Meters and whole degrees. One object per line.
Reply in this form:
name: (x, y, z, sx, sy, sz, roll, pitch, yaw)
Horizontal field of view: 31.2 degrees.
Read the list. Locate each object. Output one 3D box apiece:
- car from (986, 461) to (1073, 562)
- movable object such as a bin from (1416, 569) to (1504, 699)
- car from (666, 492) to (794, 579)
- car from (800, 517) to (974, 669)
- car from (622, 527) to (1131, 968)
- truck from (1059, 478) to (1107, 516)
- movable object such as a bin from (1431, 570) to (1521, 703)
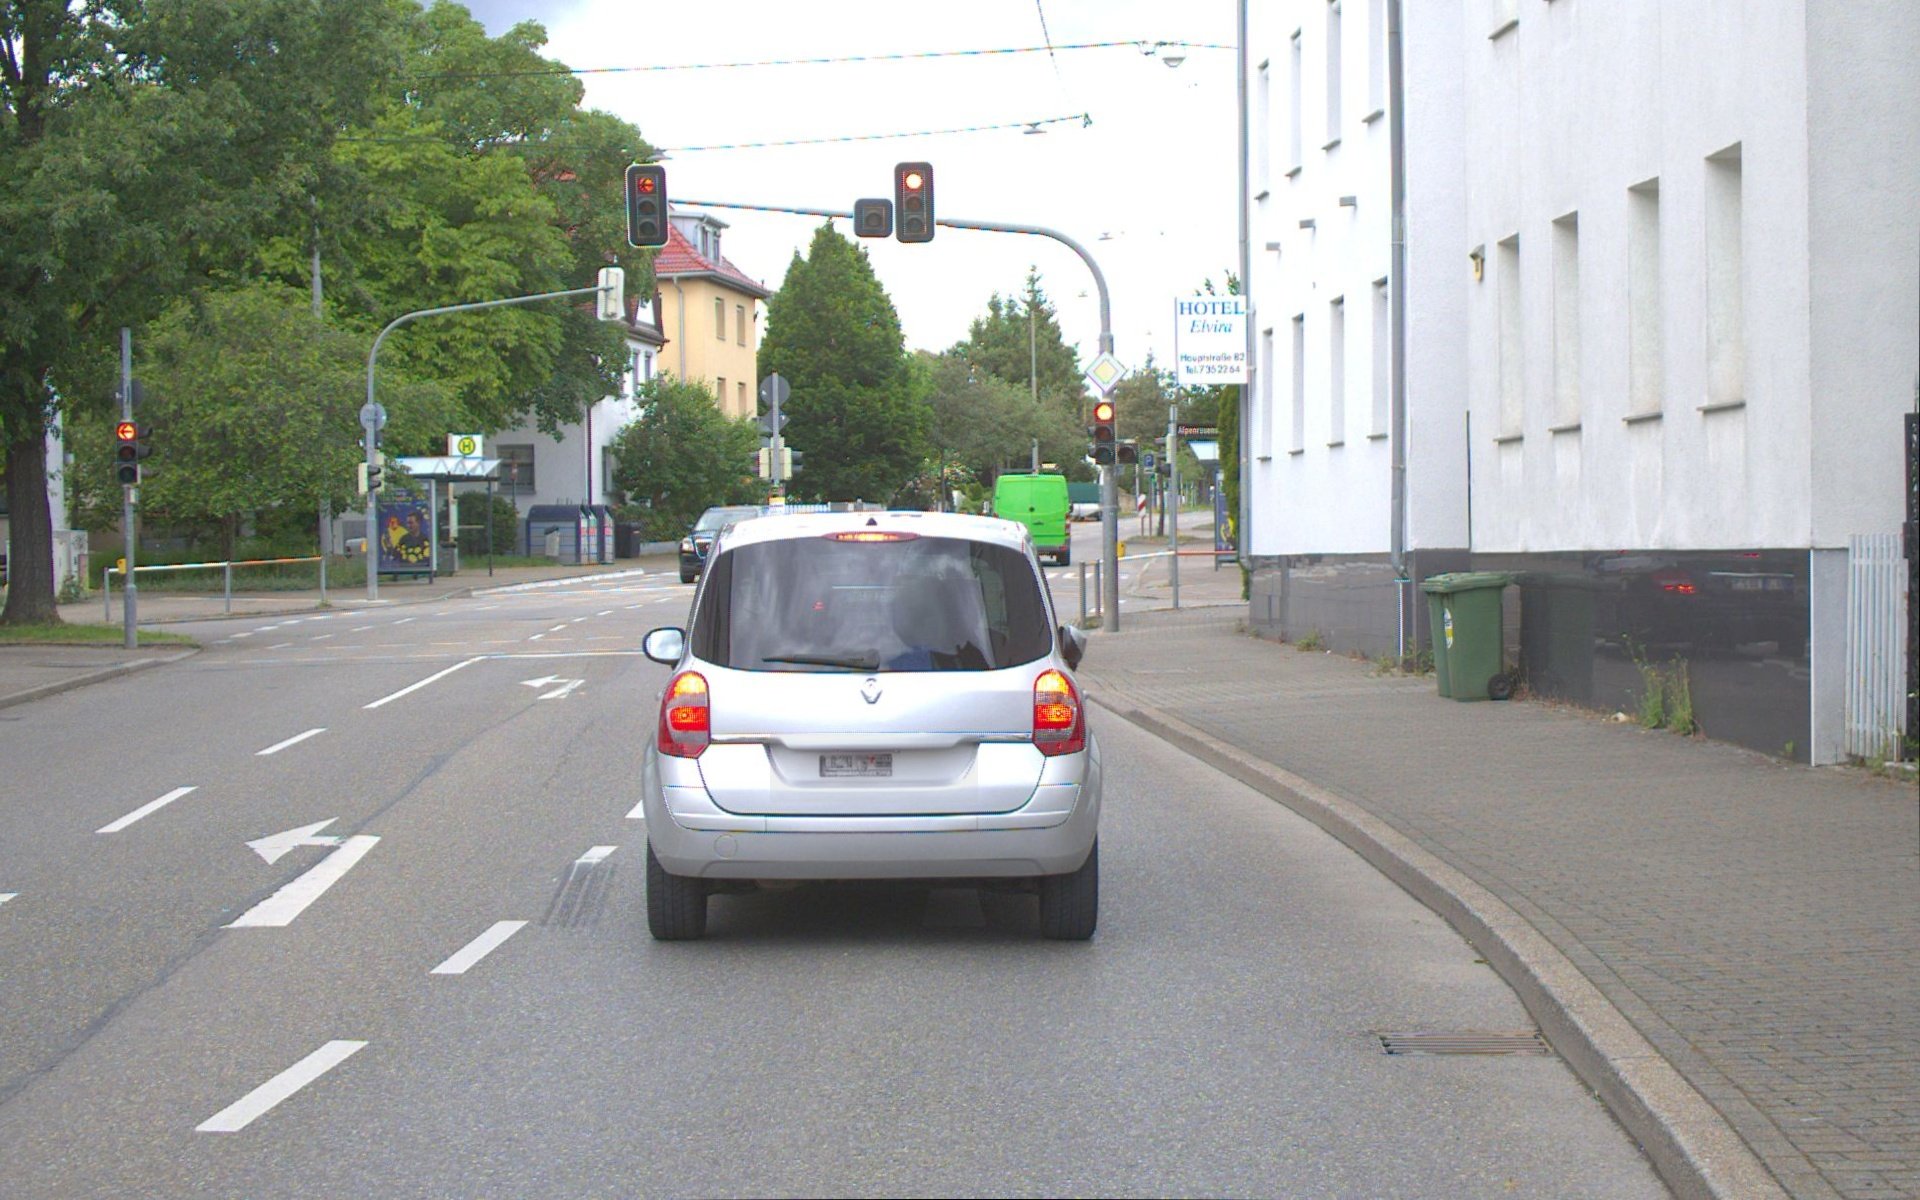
car: (1.815, -2.253, 88.035, 2.059, 2.503, 5.595, 0, 1, 3)
movable object such as a bin: (3.770, 0.254, 25.950, 0.540, 0.938, 0.487, -3, 1, -1)
car: (-5.128, -1.467, 77.098, 1.927, 1.767, 3.999, -4, 1, 9)
car: (-0.814, -0.106, 36.625, 1.755, 1.525, 3.797, 0, 1, -2)
car: (-0.365, 0.472, 13.884, 1.755, 1.525, 4.001, 0, 1, -2)
truck: (6.793, -5.660, 189.677, 2.102, 2.007, 5.746, 0, 1, 8)
movable object such as a bin: (3.812, 0.265, 25.414, 0.540, 0.938, 0.487, -3, 1, -1)
